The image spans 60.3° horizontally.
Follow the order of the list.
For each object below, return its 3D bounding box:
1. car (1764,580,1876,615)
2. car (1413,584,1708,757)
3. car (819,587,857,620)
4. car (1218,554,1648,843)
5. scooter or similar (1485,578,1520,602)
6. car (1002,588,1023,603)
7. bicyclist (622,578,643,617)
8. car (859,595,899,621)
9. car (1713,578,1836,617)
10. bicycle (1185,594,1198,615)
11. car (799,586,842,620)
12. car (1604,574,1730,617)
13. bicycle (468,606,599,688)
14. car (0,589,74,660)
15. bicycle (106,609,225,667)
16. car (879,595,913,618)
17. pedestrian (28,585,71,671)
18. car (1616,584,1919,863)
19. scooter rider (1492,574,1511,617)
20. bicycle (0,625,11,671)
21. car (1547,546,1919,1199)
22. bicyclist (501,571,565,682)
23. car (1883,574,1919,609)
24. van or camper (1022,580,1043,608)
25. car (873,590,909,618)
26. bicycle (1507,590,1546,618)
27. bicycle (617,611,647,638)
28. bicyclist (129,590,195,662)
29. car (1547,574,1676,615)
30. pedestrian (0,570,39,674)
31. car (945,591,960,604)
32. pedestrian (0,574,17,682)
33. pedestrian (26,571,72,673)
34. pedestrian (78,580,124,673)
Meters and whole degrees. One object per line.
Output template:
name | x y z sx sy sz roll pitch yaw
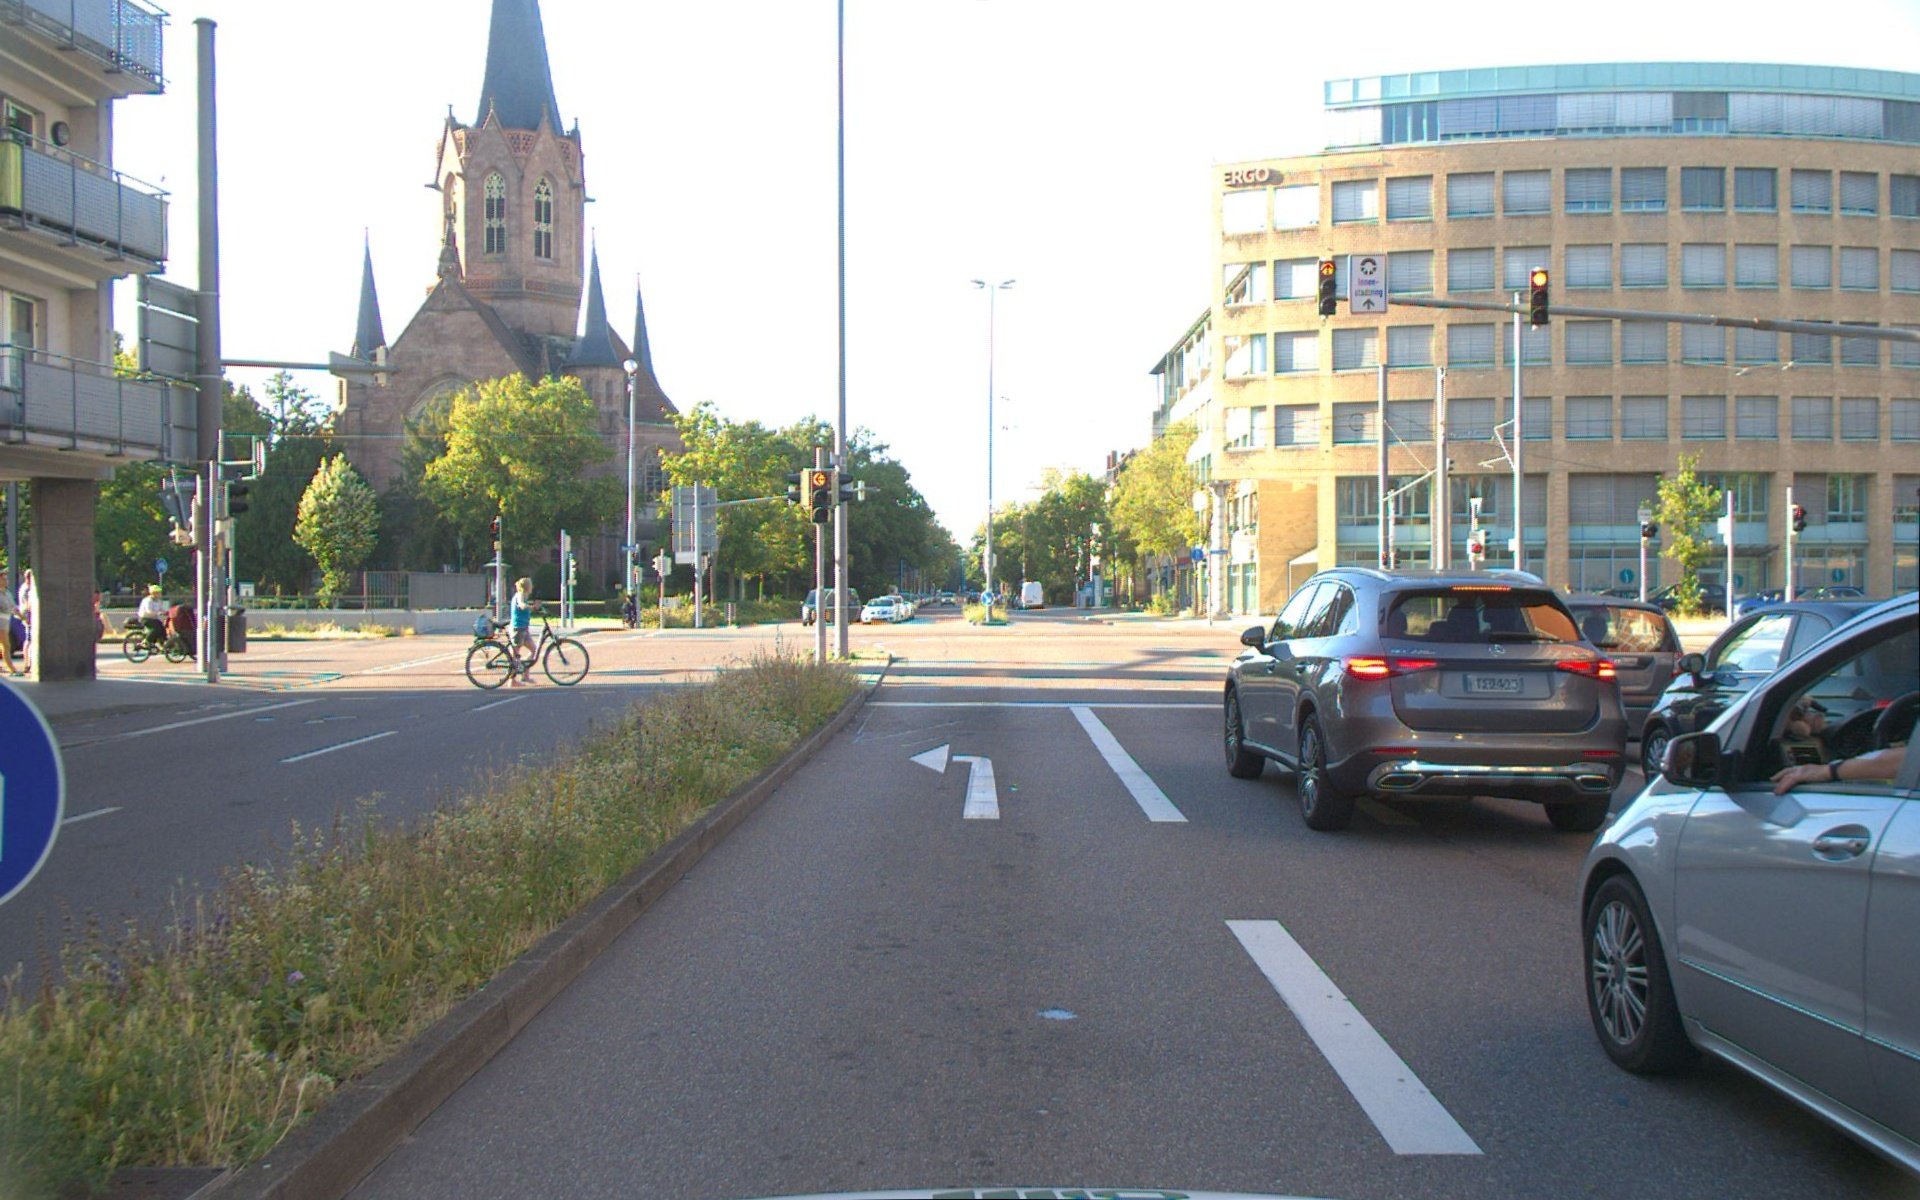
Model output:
car | 33.909 -0.109 65.261 3.534 1.366 1.722 0 0 1
car | 5.731 0.600 16.233 1.552 1.472 3.647 1 1 0
car | -6.644 0.163 90.630 1.743 1.733 4.001 0 1 1
car | 3.085 0.542 11.794 1.747 1.661 4.478 0 1 -1
scooter or similar | 23.469 -0.421 71.595 1.371 1.019 0.475 0 0 7
car | 5.917 -0.529 187.597 1.955 1.620 3.996 0 1 -5
bicyclist | -14.318 -0.111 72.249 0.634 1.723 0.772 -1 0 -36
car | -4.017 0.382 82.680 1.743 1.257 4.001 0 1 1
car | 33.628 -0.110 68.351 4.144 1.528 1.999 0 0 -3
bicycle | 14.043 0.271 100.306 0.757 1.216 2.467 0 1 8
car | -6.985 0.140 83.230 1.743 1.676 4.001 0 1 1
car | 27.844 -0.179 65.200 4.141 1.642 2.001 0 0 2
bicycle | -6.475 0.705 25.185 1.790 1.209 0.734 0 0 -1
car | -23.202 0.560 38.343 4.311 1.601 1.836 0 0 1
bicycle | -17.049 0.803 35.542 2.001 1.188 1.161 0 0 -2
car | -3.723 0.361 96.517 1.743 1.257 4.001 0 1 1
pedestrian | -16.668 0.499 30.289 0.458 1.557 0.576 0 0 -1
car | 5.769 0.666 10.913 1.459 1.532 3.478 0 1 -1
scooter rider | 23.448 -0.209 71.604 0.665 1.846 0.475 0 0 7
bicycle | -18.385 0.919 30.775 0.486 0.854 1.703 0 0 -1
car | 3.022 0.665 4.153 1.767 1.596 3.618 0 1 -1
bicyclist | -6.632 0.395 25.743 0.766 1.689 0.900 -1 0 -2
car | 39.100 -0.357 65.605 3.906 1.370 1.999 0 0 -2
van or camper | 7.125 -0.654 162.222 1.952 2.686 5.352 0 1 2
car | -3.713 0.198 89.253 1.743 1.490 4.001 0 1 1
bicycle | 24.118 0.170 70.397 1.487 1.193 0.475 0 0 7
bicycle | -14.328 1.056 72.280 0.640 1.159 1.659 -1 1 -36
bicyclist | -17.137 0.548 35.532 0.861 1.513 1.161 0 0 -1
car | 26.937 -0.236 68.464 4.553 1.626 1.999 0 0 -3
pedestrian | -16.241 0.366 28.133 0.737 1.739 0.675 0 0 9
car | -0.887 -0.327 203.570 1.743 1.474 4.001 0 1 1
pedestrian | -16.307 0.465 27.442 0.903 1.789 0.675 0 0 9
pedestrian | -16.253 0.384 29.521 0.541 1.800 0.469 0 0 2
pedestrian | -15.633 0.477 30.120 0.458 1.670 0.576 0 0 20
